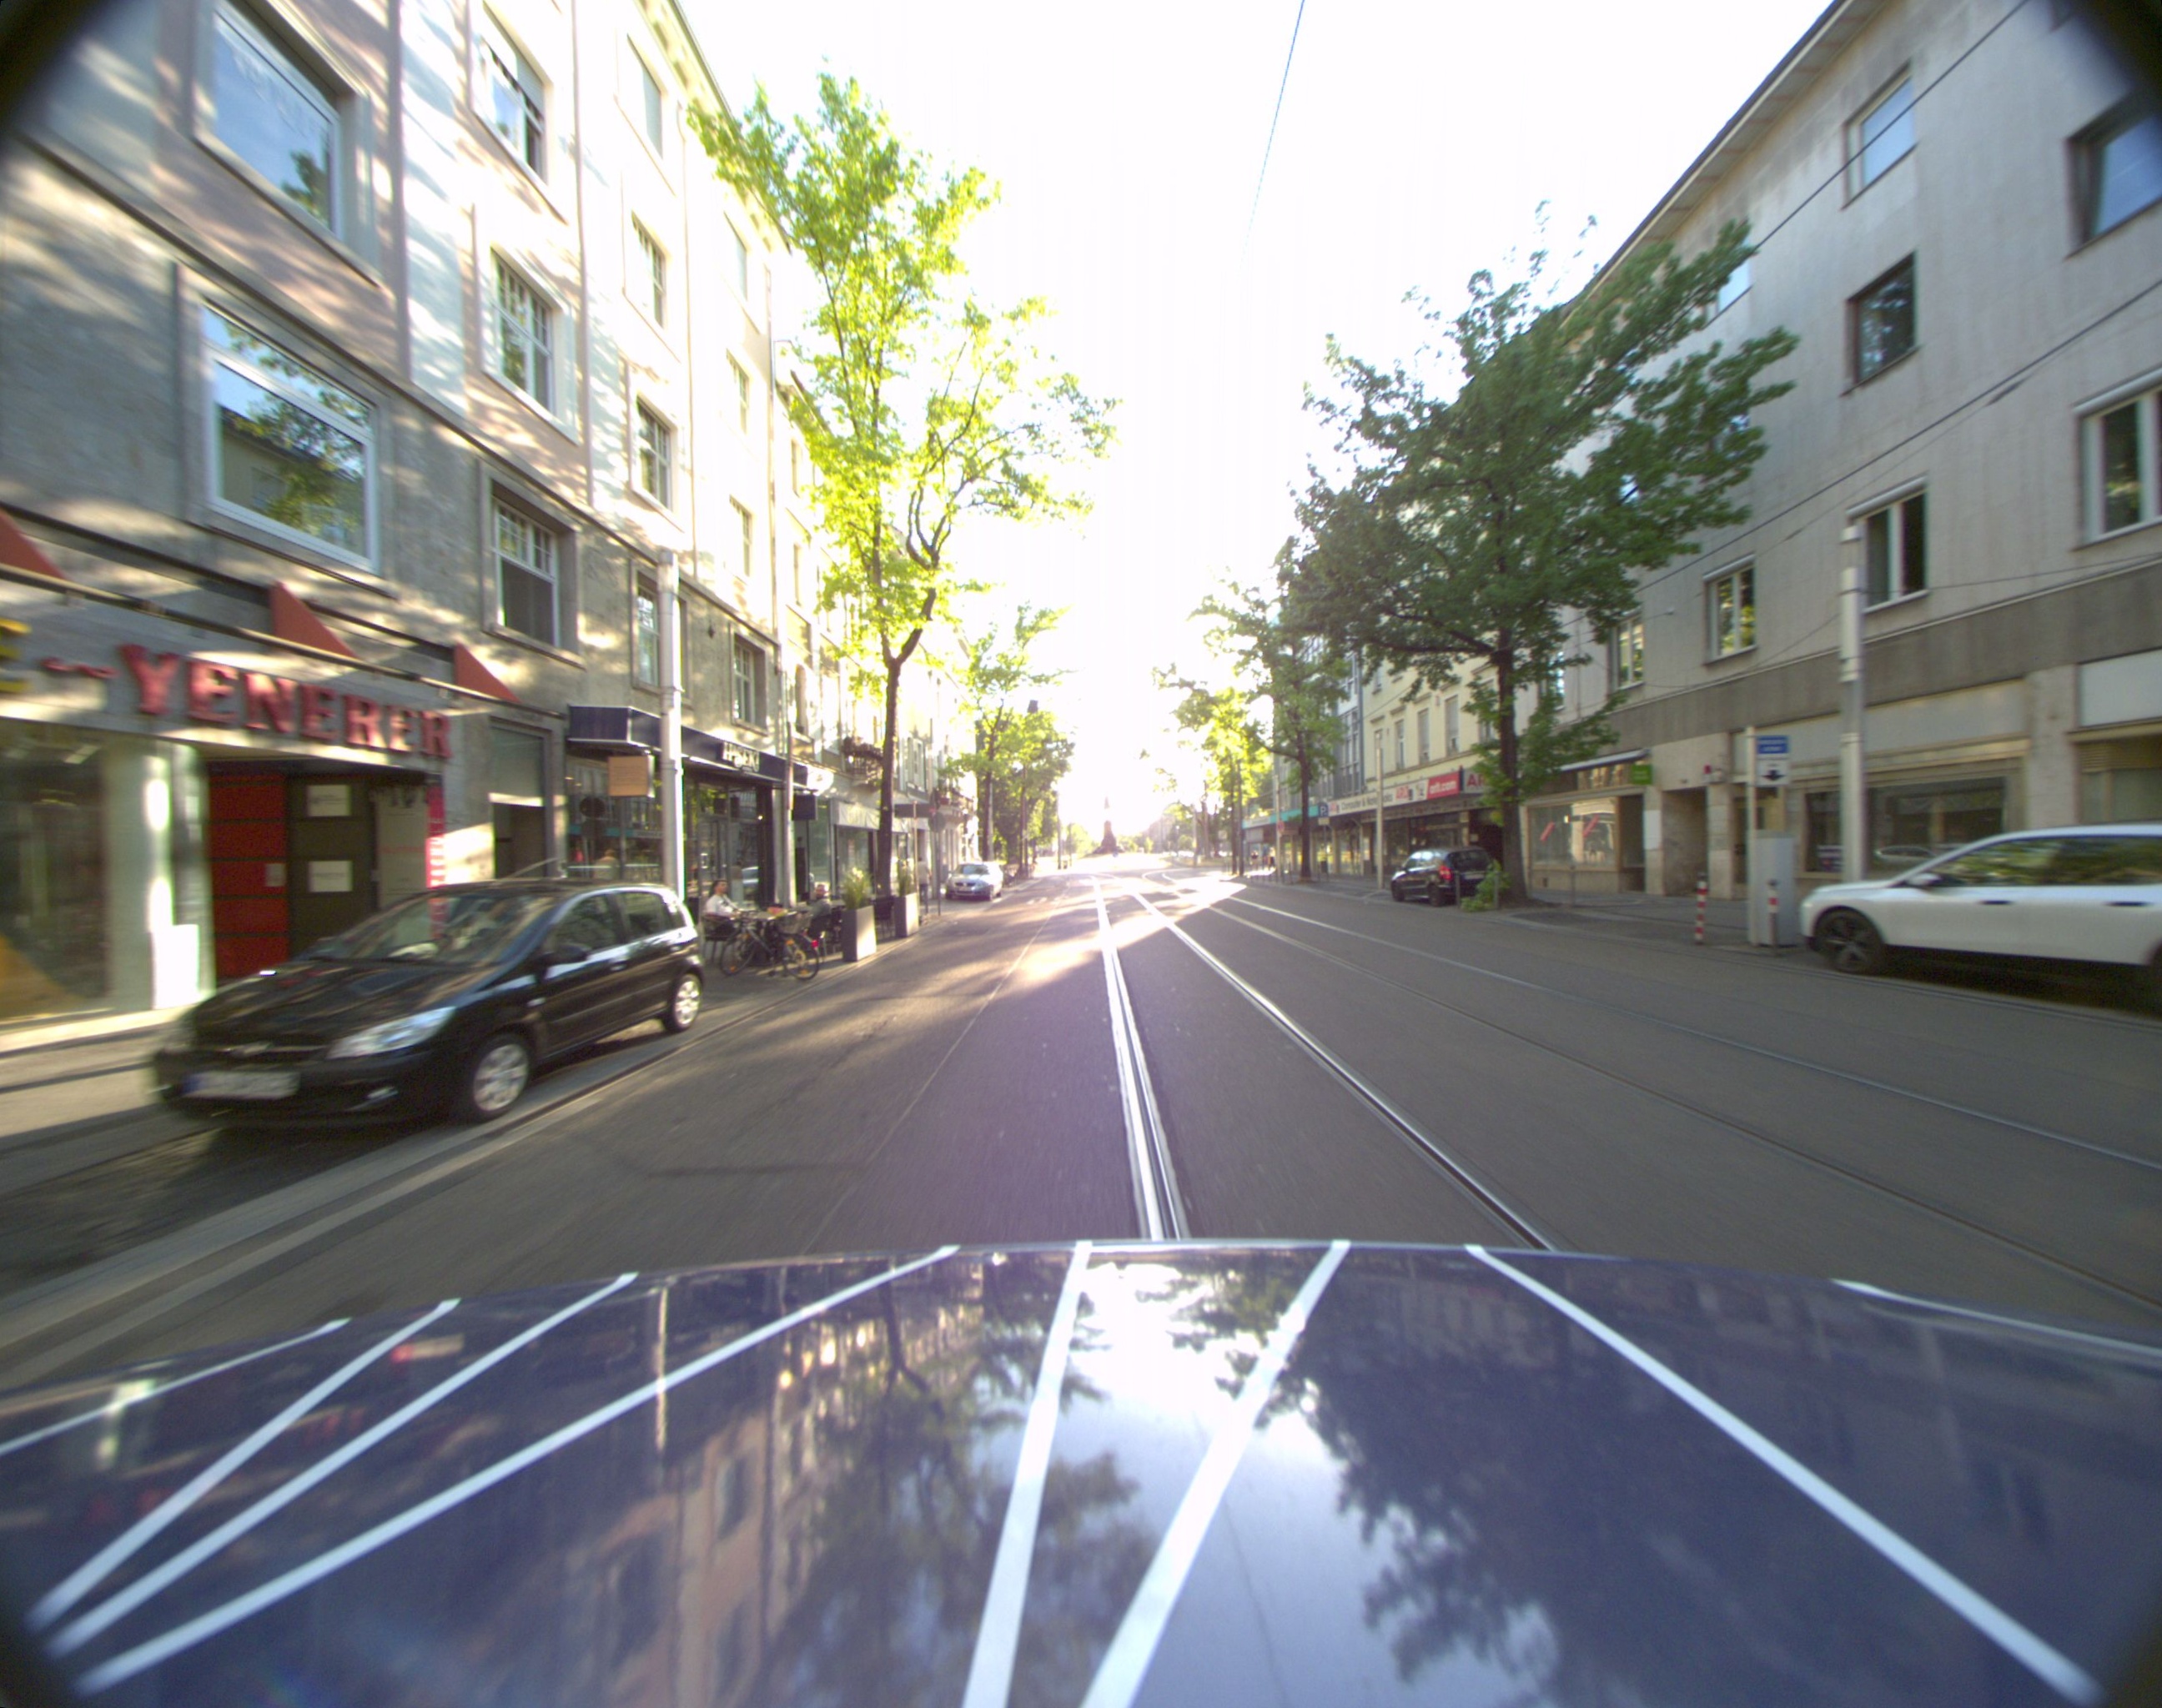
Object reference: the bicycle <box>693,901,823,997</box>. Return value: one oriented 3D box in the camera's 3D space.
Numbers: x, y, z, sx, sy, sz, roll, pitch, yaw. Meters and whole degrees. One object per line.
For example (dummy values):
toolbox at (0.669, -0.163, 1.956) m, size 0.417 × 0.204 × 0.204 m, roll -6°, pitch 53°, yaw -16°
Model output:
bicycle at (-4.357, 1.249, 10.242) m, size 1.728 × 1.132 × 0.547 m, roll 1°, pitch 1°, yaw 21°

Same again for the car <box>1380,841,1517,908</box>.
car at (10.455, 0.515, 22.003) m, size 1.967 × 1.630 × 4.000 m, roll -4°, pitch 1°, yaw 1°

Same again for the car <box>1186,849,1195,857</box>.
car at (29.047, -0.326, 202.094) m, size 1.998 × 2.002 × 4.000 m, roll -1°, pitch 1°, yaw 2°

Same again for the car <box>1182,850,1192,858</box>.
car at (29.495, 0.037, 211.612) m, size 1.999 × 2.002 × 4.547 m, roll -2°, pitch 1°, yaw -2°

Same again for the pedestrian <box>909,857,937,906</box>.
pedestrian at (-5.416, 0.927, 26.085) m, size 0.805 × 1.633 × 0.756 m, roll 0°, pitch 1°, yaw 1°

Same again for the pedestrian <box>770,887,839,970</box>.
pedestrian at (-4.351, 1.163, 12.001) m, size 0.819 × 1.258 × 0.586 m, roll -1°, pitch 1°, yaw 6°

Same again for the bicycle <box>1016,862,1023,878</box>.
bicycle at (-4.382, 1.126, 54.317) m, size 0.355 × 1.070 × 1.698 m, roll -2°, pitch 1°, yaw -2°

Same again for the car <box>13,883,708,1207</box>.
car at (-4.614, 1.065, 5.751) m, size 1.805 × 1.450 × 3.653 m, roll 2°, pitch 1°, yaw -2°

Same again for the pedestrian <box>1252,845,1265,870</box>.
pedestrian at (14.229, 0.268, 60.947) m, size 0.798 × 2.002 × 0.734 m, roll -2°, pitch 2°, yaw 2°

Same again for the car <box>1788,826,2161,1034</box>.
car at (9.960, 0.604, 7.241) m, size 1.966 × 1.630 × 4.812 m, roll -4°, pitch 1°, yaw 1°

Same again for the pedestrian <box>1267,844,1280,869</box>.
pedestrian at (15.438, 0.211, 61.014) m, size 0.798 × 2.002 × 0.734 m, roll -2°, pitch 2°, yaw 2°

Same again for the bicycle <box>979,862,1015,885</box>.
bicycle at (-4.626, 1.068, 41.775) m, size 1.870 × 1.148 × 0.562 m, roll -2°, pitch 1°, yaw 3°

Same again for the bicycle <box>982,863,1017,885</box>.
bicycle at (-4.550, 1.121, 42.344) m, size 1.870 × 1.148 × 0.348 m, roll -2°, pitch 1°, yaw 3°

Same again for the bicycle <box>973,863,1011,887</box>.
bicycle at (-4.655, 1.092, 39.819) m, size 1.870 × 1.148 × 0.562 m, roll -2°, pitch 1°, yaw 3°

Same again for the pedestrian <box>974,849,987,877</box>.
pedestrian at (-7.442, 0.678, 56.336) m, size 0.846 × 2.002 × 0.843 m, roll -2°, pitch 2°, yaw -9°

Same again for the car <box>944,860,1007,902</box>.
car at (-4.122, 1.020, 30.473) m, size 1.780 × 1.432 × 4.422 m, roll 2°, pitch 1°, yaw 1°

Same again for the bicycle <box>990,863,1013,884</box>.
bicycle at (-4.547, 1.081, 43.306) m, size 0.462 × 1.148 × 1.677 m, roll -3°, pitch 1°, yaw -39°

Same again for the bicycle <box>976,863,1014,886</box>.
bicycle at (-4.579, 1.085, 40.432) m, size 1.870 × 1.148 × 0.562 m, roll -2°, pitch 1°, yaw 3°

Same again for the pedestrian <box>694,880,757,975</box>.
pedestrian at (-5.535, 1.116, 11.820) m, size 0.711 × 1.379 × 0.745 m, roll -2°, pitch 1°, yaw -37°
